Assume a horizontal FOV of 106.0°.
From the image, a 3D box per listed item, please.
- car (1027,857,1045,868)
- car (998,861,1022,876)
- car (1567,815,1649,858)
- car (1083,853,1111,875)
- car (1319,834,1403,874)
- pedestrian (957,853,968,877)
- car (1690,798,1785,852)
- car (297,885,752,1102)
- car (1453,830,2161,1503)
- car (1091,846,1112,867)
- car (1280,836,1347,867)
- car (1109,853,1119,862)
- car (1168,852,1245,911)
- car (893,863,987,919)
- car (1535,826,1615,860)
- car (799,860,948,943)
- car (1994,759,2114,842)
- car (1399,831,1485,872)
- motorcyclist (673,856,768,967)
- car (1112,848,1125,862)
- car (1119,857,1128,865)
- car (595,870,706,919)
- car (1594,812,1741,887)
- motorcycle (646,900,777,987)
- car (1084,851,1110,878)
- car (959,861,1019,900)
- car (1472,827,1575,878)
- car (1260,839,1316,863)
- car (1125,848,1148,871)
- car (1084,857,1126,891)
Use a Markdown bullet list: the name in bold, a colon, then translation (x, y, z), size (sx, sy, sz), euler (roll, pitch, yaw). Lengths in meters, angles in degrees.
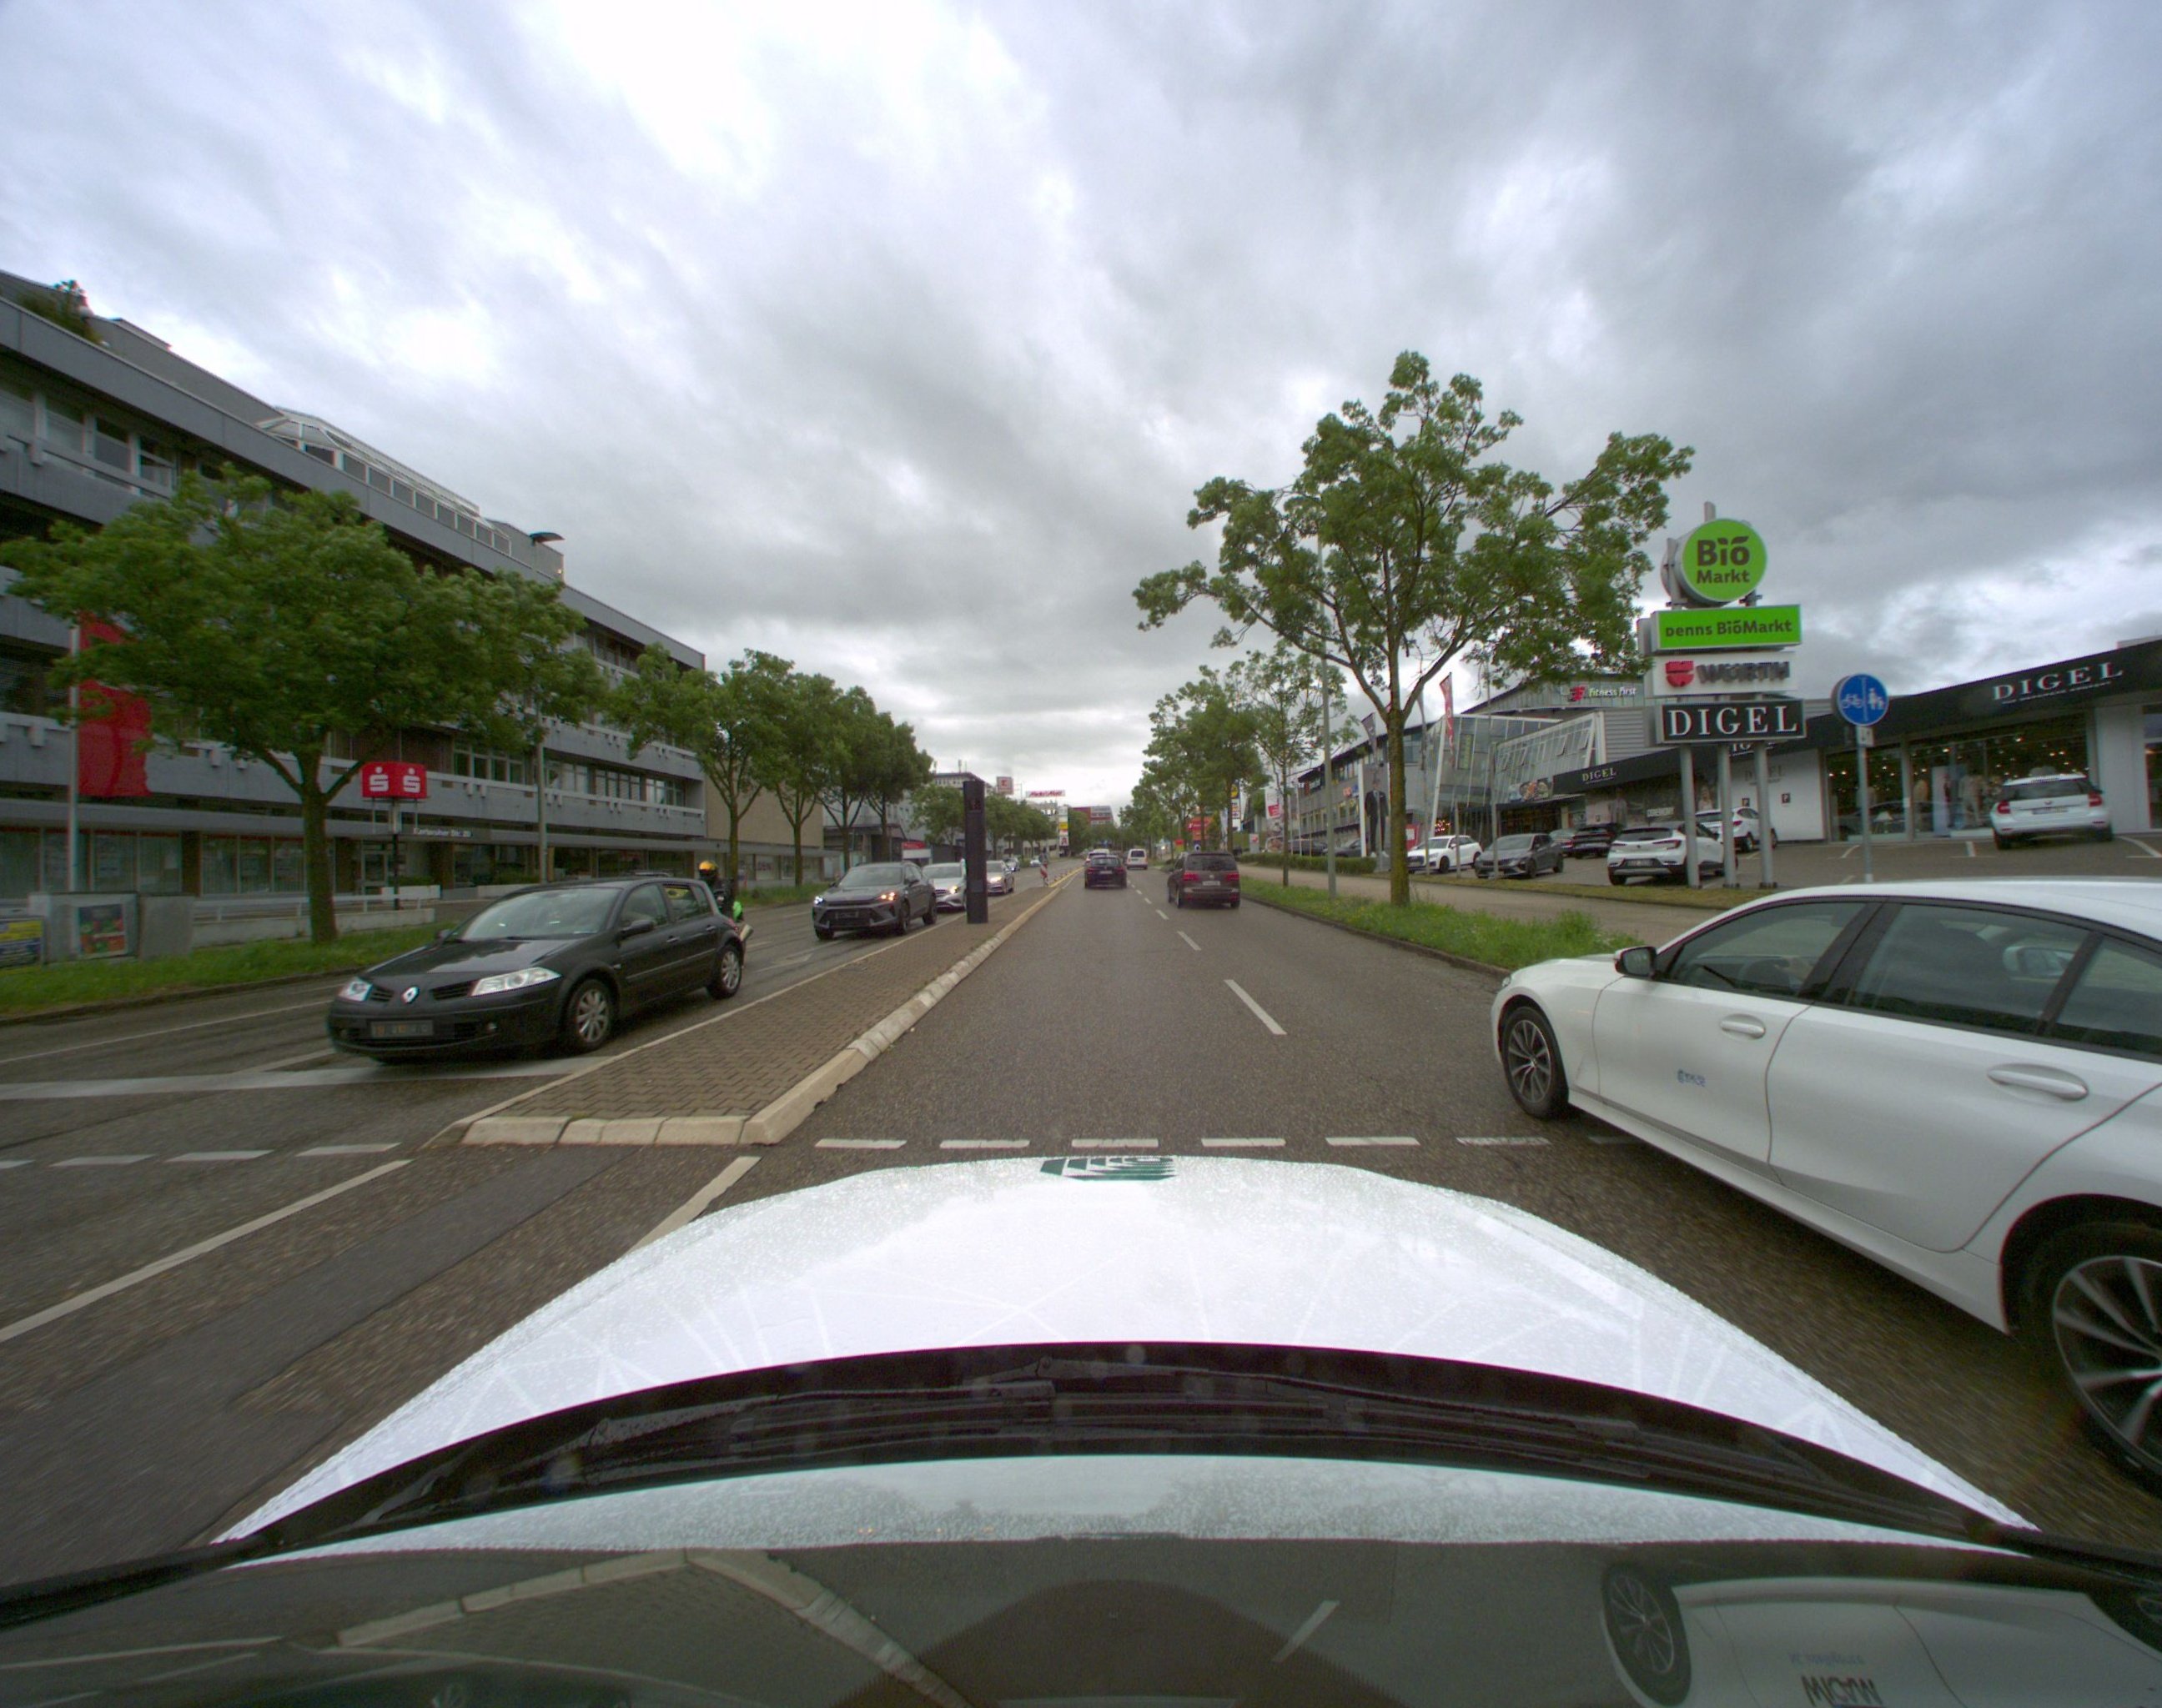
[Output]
- **car**: translation (-5.825, 1.093, 104.880), size (1.936, 1.448, 4.001), euler (-1, -1, 1)
- **car**: translation (-7.313, 1.514, 84.020), size (1.936, 1.453, 4.001), euler (-1, -1, 1)
- **car**: translation (23.722, -0.812, 36.589), size (4.174, 1.771, 1.718), euler (-2, -1, -37)
- **car**: translation (1.041, 0.664, 54.875), size (1.677, 1.377, 3.998), euler (-2, -1, -1)
- **car**: translation (15.657, 0.002, 45.654), size (4.093, 2.106, 1.801), euler (-2, 0, 3)
- **pedestrian**: translation (-11.114, 1.058, 76.628), size (0.856, 2.218, 0.846), euler (-2, 0, -1)
- **car**: translation (24.096, -1.060, 29.863), size (4.174, 1.771, 1.718), euler (-2, -1, -37)
- **car**: translation (-4.842, 1.085, 7.914), size (1.677, 1.377, 3.998), euler (-2, -1, -1)
- **car**: translation (3.418, 0.733, 3.319), size (1.794, 1.544, 4.621), euler (0, -1, 2)
- **car**: translation (2.015, 0.260, 80.740), size (1.986, 2.014, 4.002), euler (0, -1, 2)
- **car**: translation (16.074, -0.169, 56.504), size (4.093, 1.904, 1.801), euler (-3, 0, 3)
- **car**: translation (5.545, 0.653, 137.091), size (1.588, 1.474, 3.445), euler (0, -1, 2)
- **car**: translation (3.600, 0.755, 24.052), size (1.794, 1.587, 4.454), euler (0, 0, 3)
- **car**: translation (-4.184, 1.050, 24.930), size (1.834, 1.377, 4.863), euler (-5, 0, 1)
- **car**: translation (24.363, -0.575, 40.117), size (4.174, 1.468, 1.811), euler (-3, 0, -36)
- **car**: translation (-4.341, 0.923, 17.905), size (1.737, 1.489, 4.833), euler (-2, 0, 3)
- **car**: translation (24.003, -1.250, 20.185), size (4.176, 1.771, 1.717), euler (-2, -1, -41)
- **car**: translation (15.385, -0.124, 34.702), size (3.616, 1.536, 1.776), euler (-3, 0, -37)
- **motorcyclist**: translation (-5.390, 0.816, 12.264), size (0.804, 1.559, 1.267), euler (-2, 0, 0)
- **car**: translation (4.755, 0.092, 103.185), size (1.678, 1.684, 3.405), euler (0, -1, 3)
- **car**: translation (7.969, 1.263, 152.821), size (1.613, 1.495, 3.361), euler (0, -1, 2)
- **car**: translation (-15.383, 1.436, 29.056), size (3.948, 1.552, 1.912), euler (-3, 0, 36)
- **car**: translation (15.337, -0.145, 21.240), size (4.046, 1.663, 1.960), euler (-4, 1, -37)
- **motorcycle**: translation (-5.384, 1.272, 12.073), size (0.804, 0.976, 2.323), euler (-4, 0, 1)
- **car**: translation (1.174, 0.757, 58.727), size (1.775, 1.793, 4.002), euler (-1, -1, 2)
- **car**: translation (-3.794, 1.073, 34.229), size (1.716, 1.398, 4.791), euler (-4, -1, 2)
- **car**: translation (14.705, -0.063, 27.013), size (3.616, 1.536, 1.625), euler (-2, -1, -37)
- **car**: translation (16.167, -0.230, 63.731), size (4.088, 1.703, 1.803), euler (-2, 0, 8)
- **car**: translation (4.865, 0.492, 71.759), size (1.775, 1.866, 4.002), euler (-3, -1, 2)
- **car**: translation (1.098, 0.859, 36.600), size (1.775, 1.398, 4.002), euler (-1, -1, 2)
